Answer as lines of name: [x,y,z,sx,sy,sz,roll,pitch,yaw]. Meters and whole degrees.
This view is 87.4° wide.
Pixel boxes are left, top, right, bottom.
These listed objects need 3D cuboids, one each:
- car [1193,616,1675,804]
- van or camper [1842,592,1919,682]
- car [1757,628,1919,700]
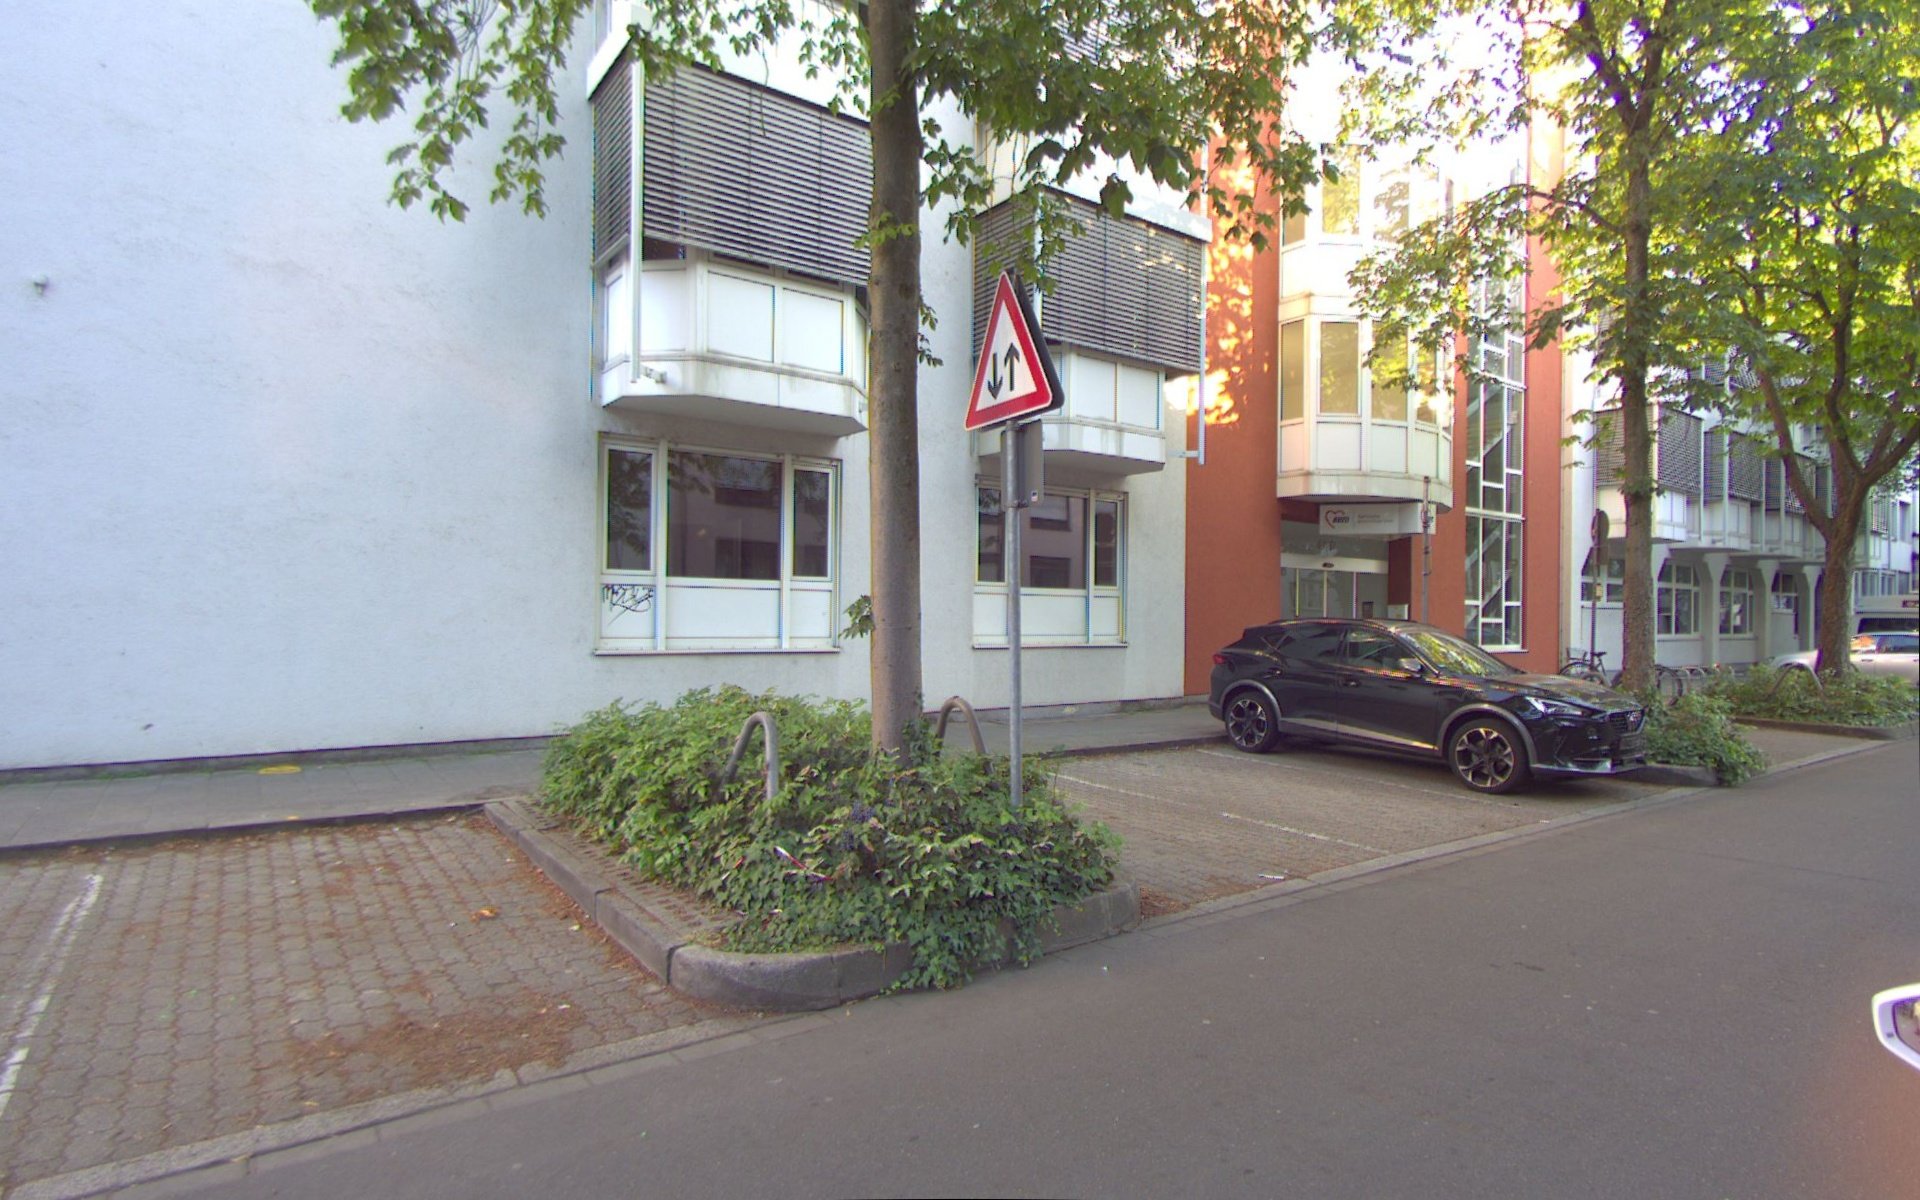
car: [4.714,0.953,10.614,1.768,1.537,4.325,1,-1,-35]
van or camper: [27.900,1.034,28.040,1.981,2.511,4.632,1,-1,-36]
car: [21.160,1.441,23.240,1.767,1.537,3.942,1,-1,-35]
